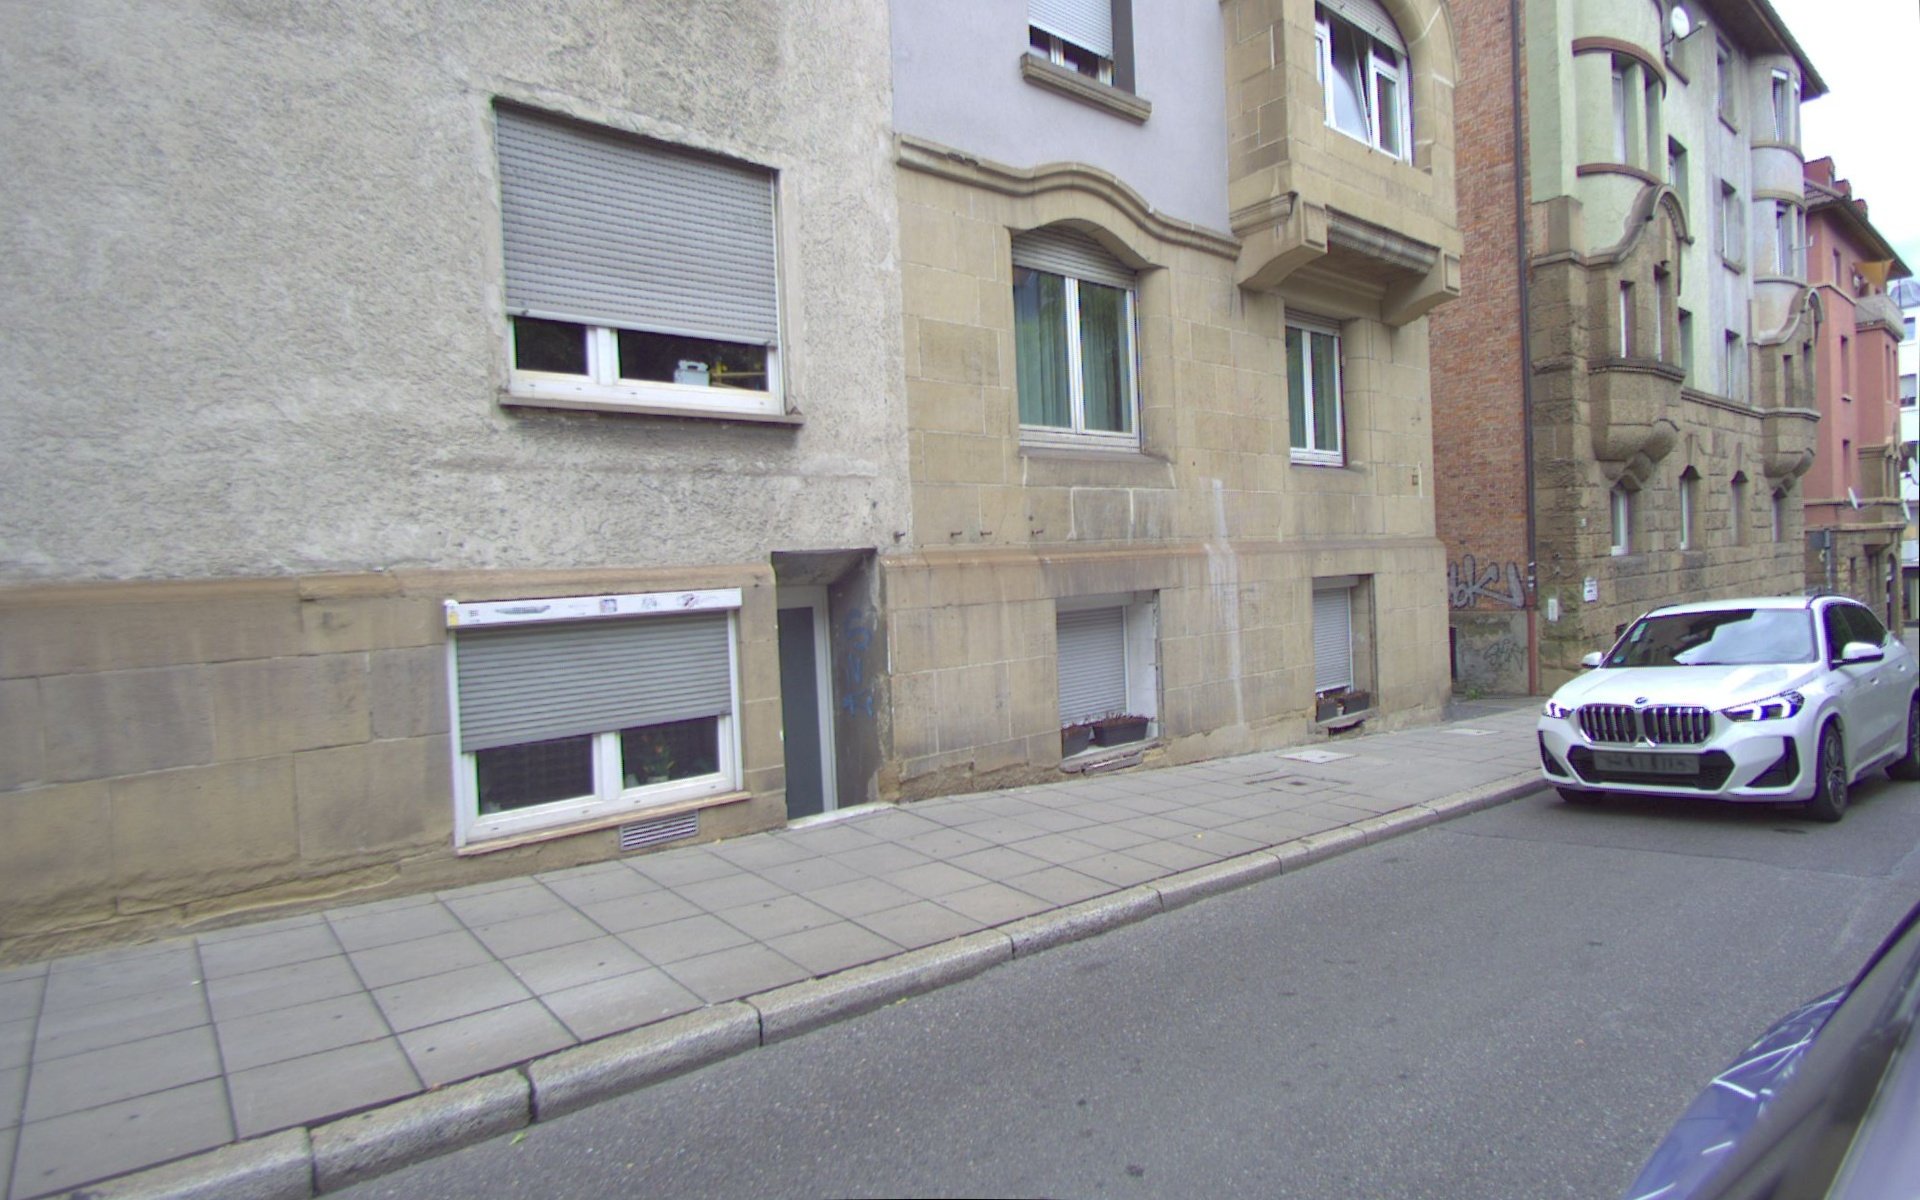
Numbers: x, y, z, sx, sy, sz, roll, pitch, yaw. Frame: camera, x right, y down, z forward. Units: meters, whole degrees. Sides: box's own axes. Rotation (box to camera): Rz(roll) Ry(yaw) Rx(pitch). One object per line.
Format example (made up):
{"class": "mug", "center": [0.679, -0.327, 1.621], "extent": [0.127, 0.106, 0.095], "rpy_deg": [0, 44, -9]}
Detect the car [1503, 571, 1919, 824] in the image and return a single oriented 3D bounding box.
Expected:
{"class": "car", "center": [6.743, 0.682, 8.594], "extent": [4.477, 1.626, 1.854], "rpy_deg": [-1, -5, -36]}
